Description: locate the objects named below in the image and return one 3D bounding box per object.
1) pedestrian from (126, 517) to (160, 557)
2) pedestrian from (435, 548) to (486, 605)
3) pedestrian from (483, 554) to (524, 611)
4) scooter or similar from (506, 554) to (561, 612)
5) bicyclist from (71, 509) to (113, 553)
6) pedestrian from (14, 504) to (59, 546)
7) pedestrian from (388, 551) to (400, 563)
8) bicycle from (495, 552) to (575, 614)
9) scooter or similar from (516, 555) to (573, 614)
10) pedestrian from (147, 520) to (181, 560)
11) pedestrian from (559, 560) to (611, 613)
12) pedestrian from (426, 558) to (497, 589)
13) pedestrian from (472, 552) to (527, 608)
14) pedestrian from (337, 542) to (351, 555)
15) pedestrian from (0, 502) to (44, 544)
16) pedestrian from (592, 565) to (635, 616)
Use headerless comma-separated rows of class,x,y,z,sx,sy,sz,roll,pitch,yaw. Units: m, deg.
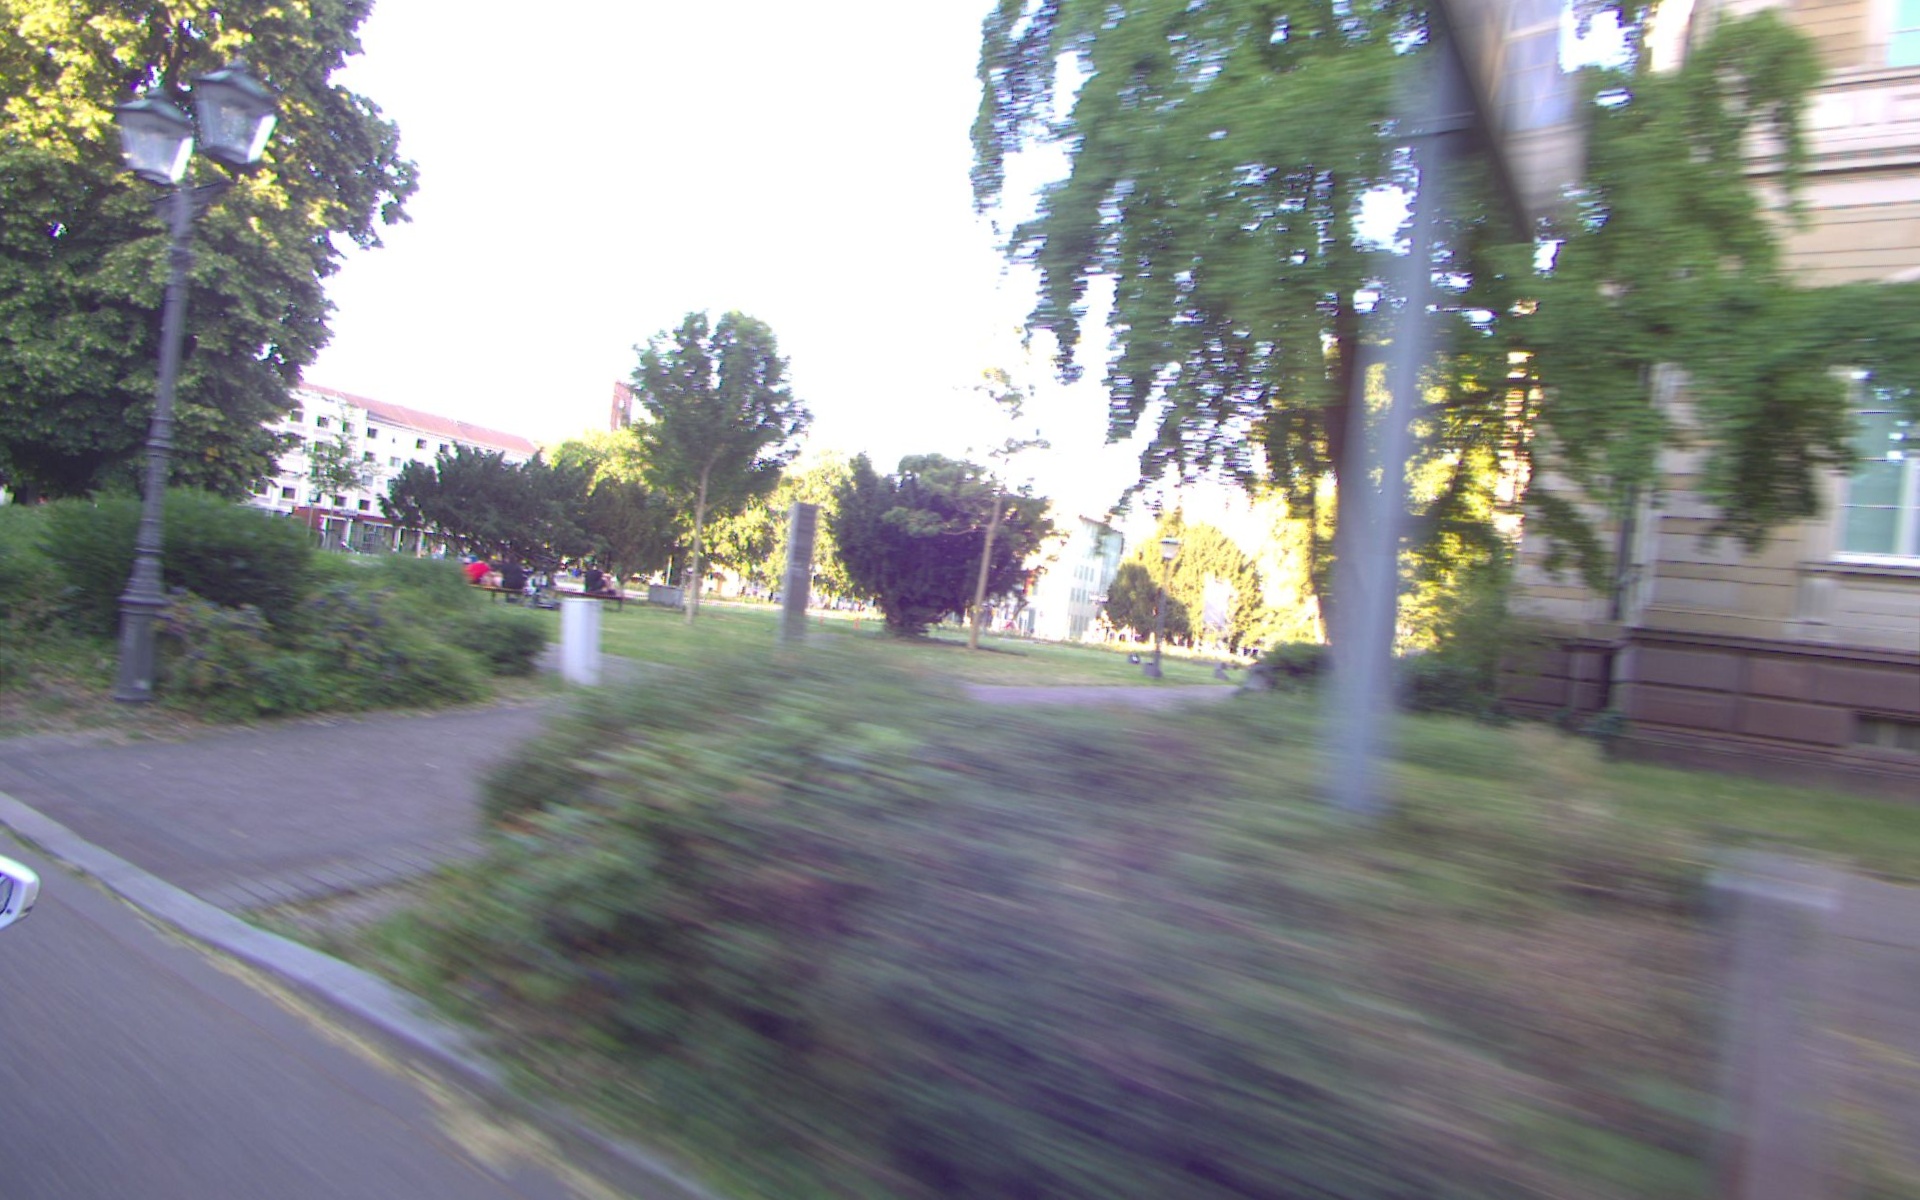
pedestrian,-29.565,-2.278,36.402,0.804,1.358,0.598,6,0,26
pedestrian,-11.676,-0.546,23.513,0.735,1.206,0.722,6,1,34
pedestrian,-10.436,-0.400,22.989,0.657,1.206,0.789,6,1,-31
scooter or similar,-10.030,-0.383,23.695,0.410,1.261,1.221,6,0,15
bicyclist,-35.701,-2.816,41.385,0.585,1.653,1.064,7,0,22
pedestrian,-31.107,-2.512,33.881,0.857,1.277,0.598,6,0,0
pedestrian,-49.362,-3.756,87.752,0.609,0.936,0.512,6,1,6
bicycle,-10.628,-0.432,25.138,1.983,1.316,0.620,6,1,27
scooter or similar,-9.596,-0.334,23.246,0.410,1.261,1.220,6,0,19
pedestrian,-29.267,-2.215,36.988,0.804,1.358,0.598,6,0,26
pedestrian,-10.471,-0.375,28.130,0.868,1.364,0.920,6,0,16
pedestrian,-11.250,-0.595,22.710,1.351,0.557,0.541,6,3,12
pedestrian,-10.960,-0.467,23.963,0.777,1.206,0.807,6,0,34
pedestrian,-55.849,-4.669,91.204,0.893,1.091,0.614,6,0,-42
pedestrian,-31.019,-2.539,33.226,0.803,1.253,0.683,6,0,1
pedestrian,-9.943,-0.271,28.895,0.773,1.364,0.761,6,1,15
